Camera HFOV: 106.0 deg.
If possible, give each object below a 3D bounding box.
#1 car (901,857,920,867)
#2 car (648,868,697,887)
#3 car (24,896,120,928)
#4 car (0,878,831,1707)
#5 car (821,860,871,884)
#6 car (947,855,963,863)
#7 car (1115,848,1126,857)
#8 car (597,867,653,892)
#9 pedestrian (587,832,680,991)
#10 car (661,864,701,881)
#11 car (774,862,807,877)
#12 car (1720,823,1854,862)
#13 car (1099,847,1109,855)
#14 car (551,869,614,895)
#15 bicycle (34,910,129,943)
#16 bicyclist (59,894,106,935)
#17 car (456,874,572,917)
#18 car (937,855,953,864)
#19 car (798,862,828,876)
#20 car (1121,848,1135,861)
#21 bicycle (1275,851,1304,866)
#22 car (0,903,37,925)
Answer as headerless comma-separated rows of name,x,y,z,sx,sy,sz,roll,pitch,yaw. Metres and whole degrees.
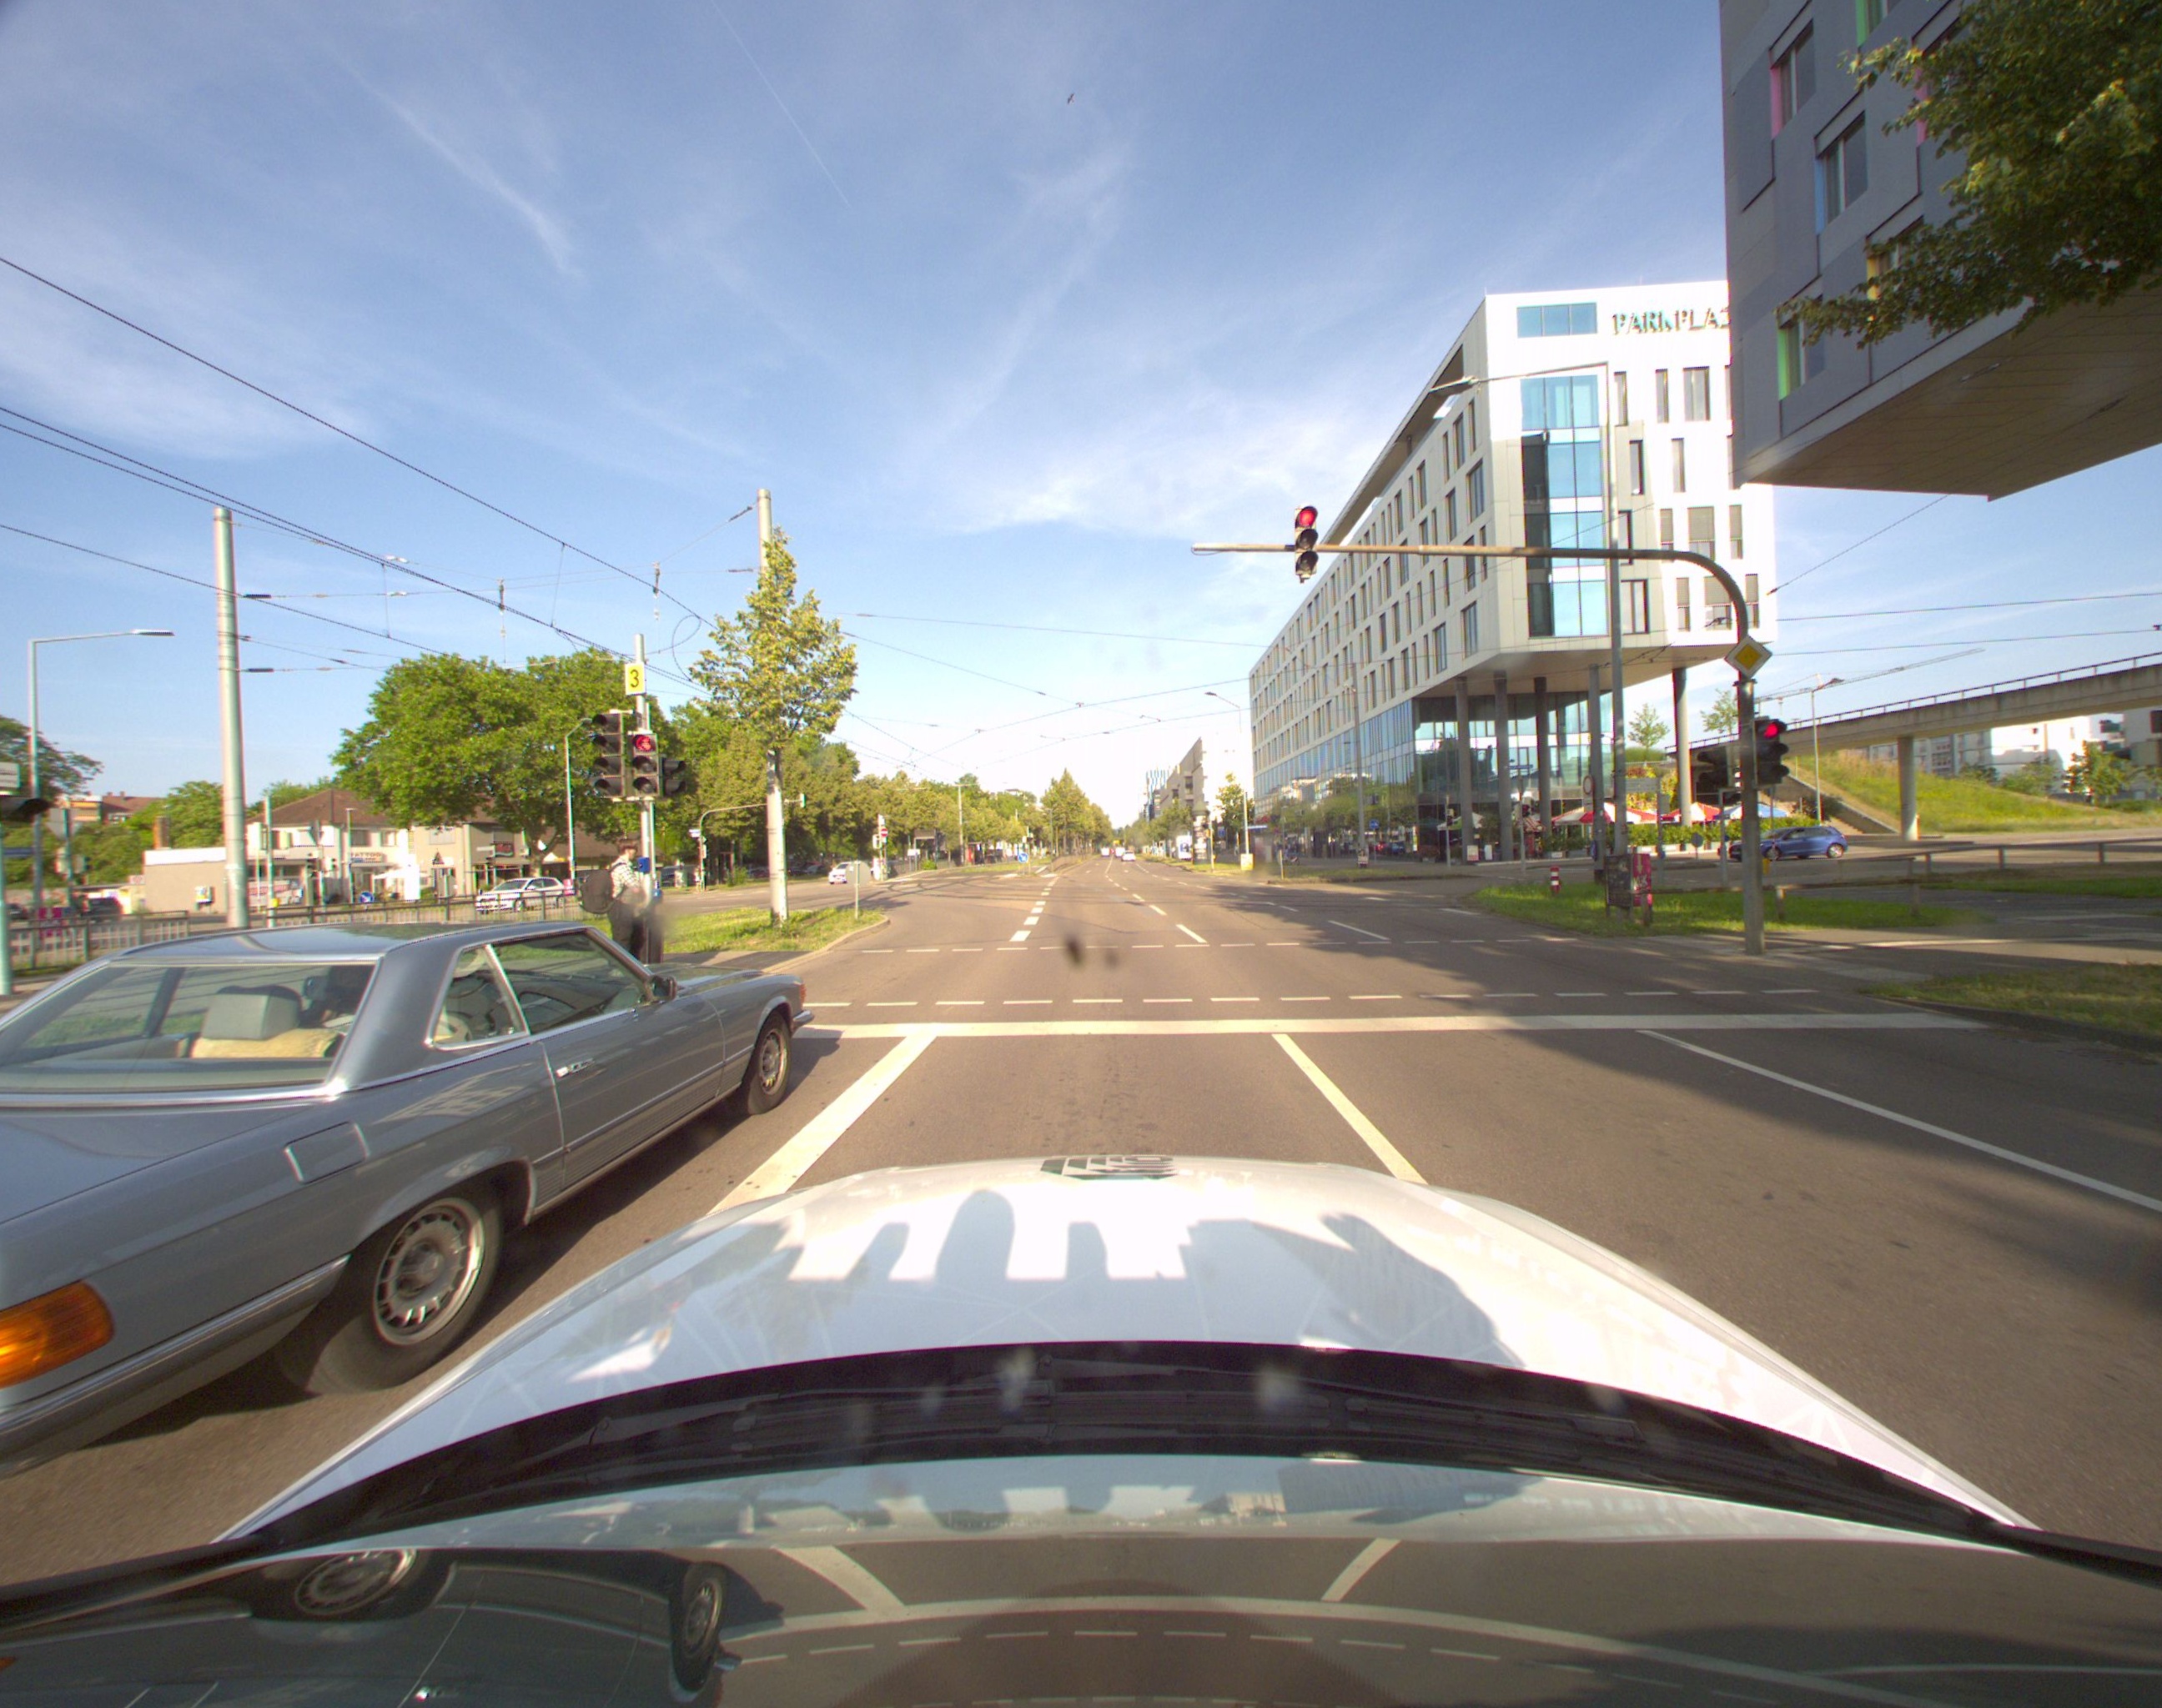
car,-28.191,1.325,134.804,1.871,1.559,4.009,-2,0,8
car,-36.146,2.063,72.097,1.871,1.559,4.009,-2,0,8
car,-62.870,3.581,50.767,3.963,1.728,2.005,-2,0,9
car,-2.710,0.866,3.543,1.757,1.330,4.402,0,1,2
car,-16.521,1.228,57.493,1.985,1.504,4.097,-4,0,4
car,-25.008,0.965,161.575,1.871,1.559,4.009,-2,0,8
car,7.206,-0.266,148.416,1.856,1.684,4.003,0,1,3
car,-36.897,2.043,66.061,1.871,1.750,4.009,-2,0,8
pedestrian,-5.195,0.647,9.494,0.697,1.792,0.636,-1,0,2
car,-42.753,1.967,87.086,1.871,1.559,4.009,-2,0,8
car,-33.645,1.787,94.433,1.871,1.559,4.009,-2,0,8
car,30.732,-0.494,35.531,4.169,1.424,1.860,-3,0,1
car,5.030,-0.593,174.995,2.006,1.684,4.003,0,1,3
car,-37.463,2.102,61.315,1.871,1.750,4.009,-2,0,8
bicycle,-38.376,2.773,31.301,2.203,1.041,0.695,-2,0,-21
bicyclist,-38.381,2.315,31.309,0.850,1.493,0.695,-2,0,-20
car,-24.484,1.762,35.362,1.869,1.528,4.227,-2,1,3
car,-25.824,1.045,155.171,1.871,1.559,4.009,-2,0,8
car,-32.899,1.802,99.986,1.871,1.559,4.009,-2,0,8
car,6.437,0.105,110.793,1.856,1.684,4.003,0,1,3
bicycle,14.639,0.297,57.176,0.778,1.032,1.856,-2,2,-41
car,-80.777,4.540,61.344,3.897,1.471,1.708,-2,0,24
